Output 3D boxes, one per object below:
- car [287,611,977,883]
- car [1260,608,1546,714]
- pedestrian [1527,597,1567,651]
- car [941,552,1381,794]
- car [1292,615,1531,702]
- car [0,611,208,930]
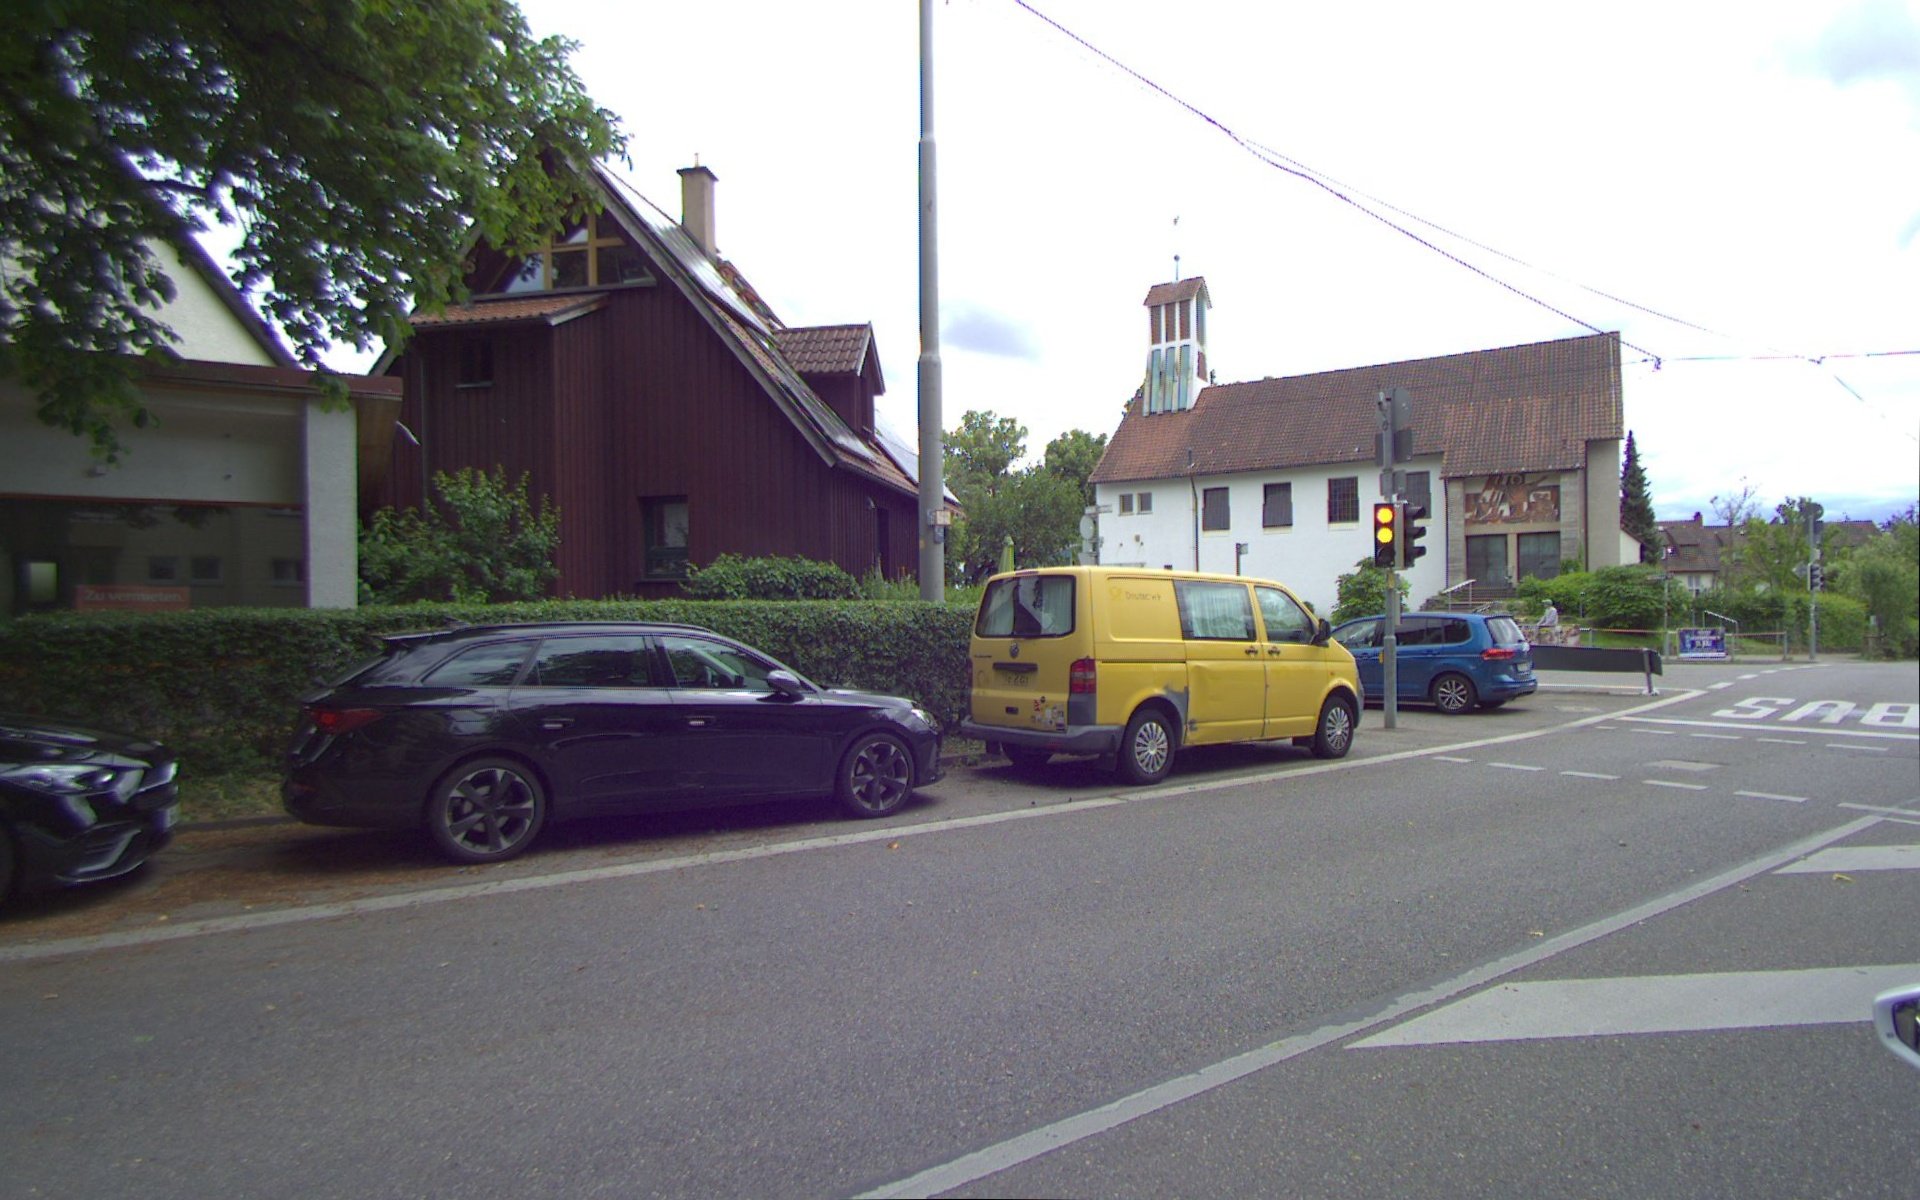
[{"bbox_3d":[-2.204,0.860,7.384,4.464,1.469,1.736,1,-2,-32],"label":"car"},{"bbox_3d":[7.486,0.963,17.265,1.832,1.567,4.125,0,-1,-43],"label":"car"},{"bbox_3d":[18.698,0.762,31.992,0.815,1.675,0.689,2,0,-2],"label":"pedestrian"},{"bbox_3d":[2.263,0.662,10.592,4.756,2.016,1.902,1,-2,-37],"label":"car"},{"bbox_3d":[8.651,1.055,19.398,3.848,1.492,1.836,-1,-1,41],"label":"car"},{"bbox_3d":[-6.335,0.774,4.502,4.541,1.469,1.736,1,-2,-31],"label":"car"}]
